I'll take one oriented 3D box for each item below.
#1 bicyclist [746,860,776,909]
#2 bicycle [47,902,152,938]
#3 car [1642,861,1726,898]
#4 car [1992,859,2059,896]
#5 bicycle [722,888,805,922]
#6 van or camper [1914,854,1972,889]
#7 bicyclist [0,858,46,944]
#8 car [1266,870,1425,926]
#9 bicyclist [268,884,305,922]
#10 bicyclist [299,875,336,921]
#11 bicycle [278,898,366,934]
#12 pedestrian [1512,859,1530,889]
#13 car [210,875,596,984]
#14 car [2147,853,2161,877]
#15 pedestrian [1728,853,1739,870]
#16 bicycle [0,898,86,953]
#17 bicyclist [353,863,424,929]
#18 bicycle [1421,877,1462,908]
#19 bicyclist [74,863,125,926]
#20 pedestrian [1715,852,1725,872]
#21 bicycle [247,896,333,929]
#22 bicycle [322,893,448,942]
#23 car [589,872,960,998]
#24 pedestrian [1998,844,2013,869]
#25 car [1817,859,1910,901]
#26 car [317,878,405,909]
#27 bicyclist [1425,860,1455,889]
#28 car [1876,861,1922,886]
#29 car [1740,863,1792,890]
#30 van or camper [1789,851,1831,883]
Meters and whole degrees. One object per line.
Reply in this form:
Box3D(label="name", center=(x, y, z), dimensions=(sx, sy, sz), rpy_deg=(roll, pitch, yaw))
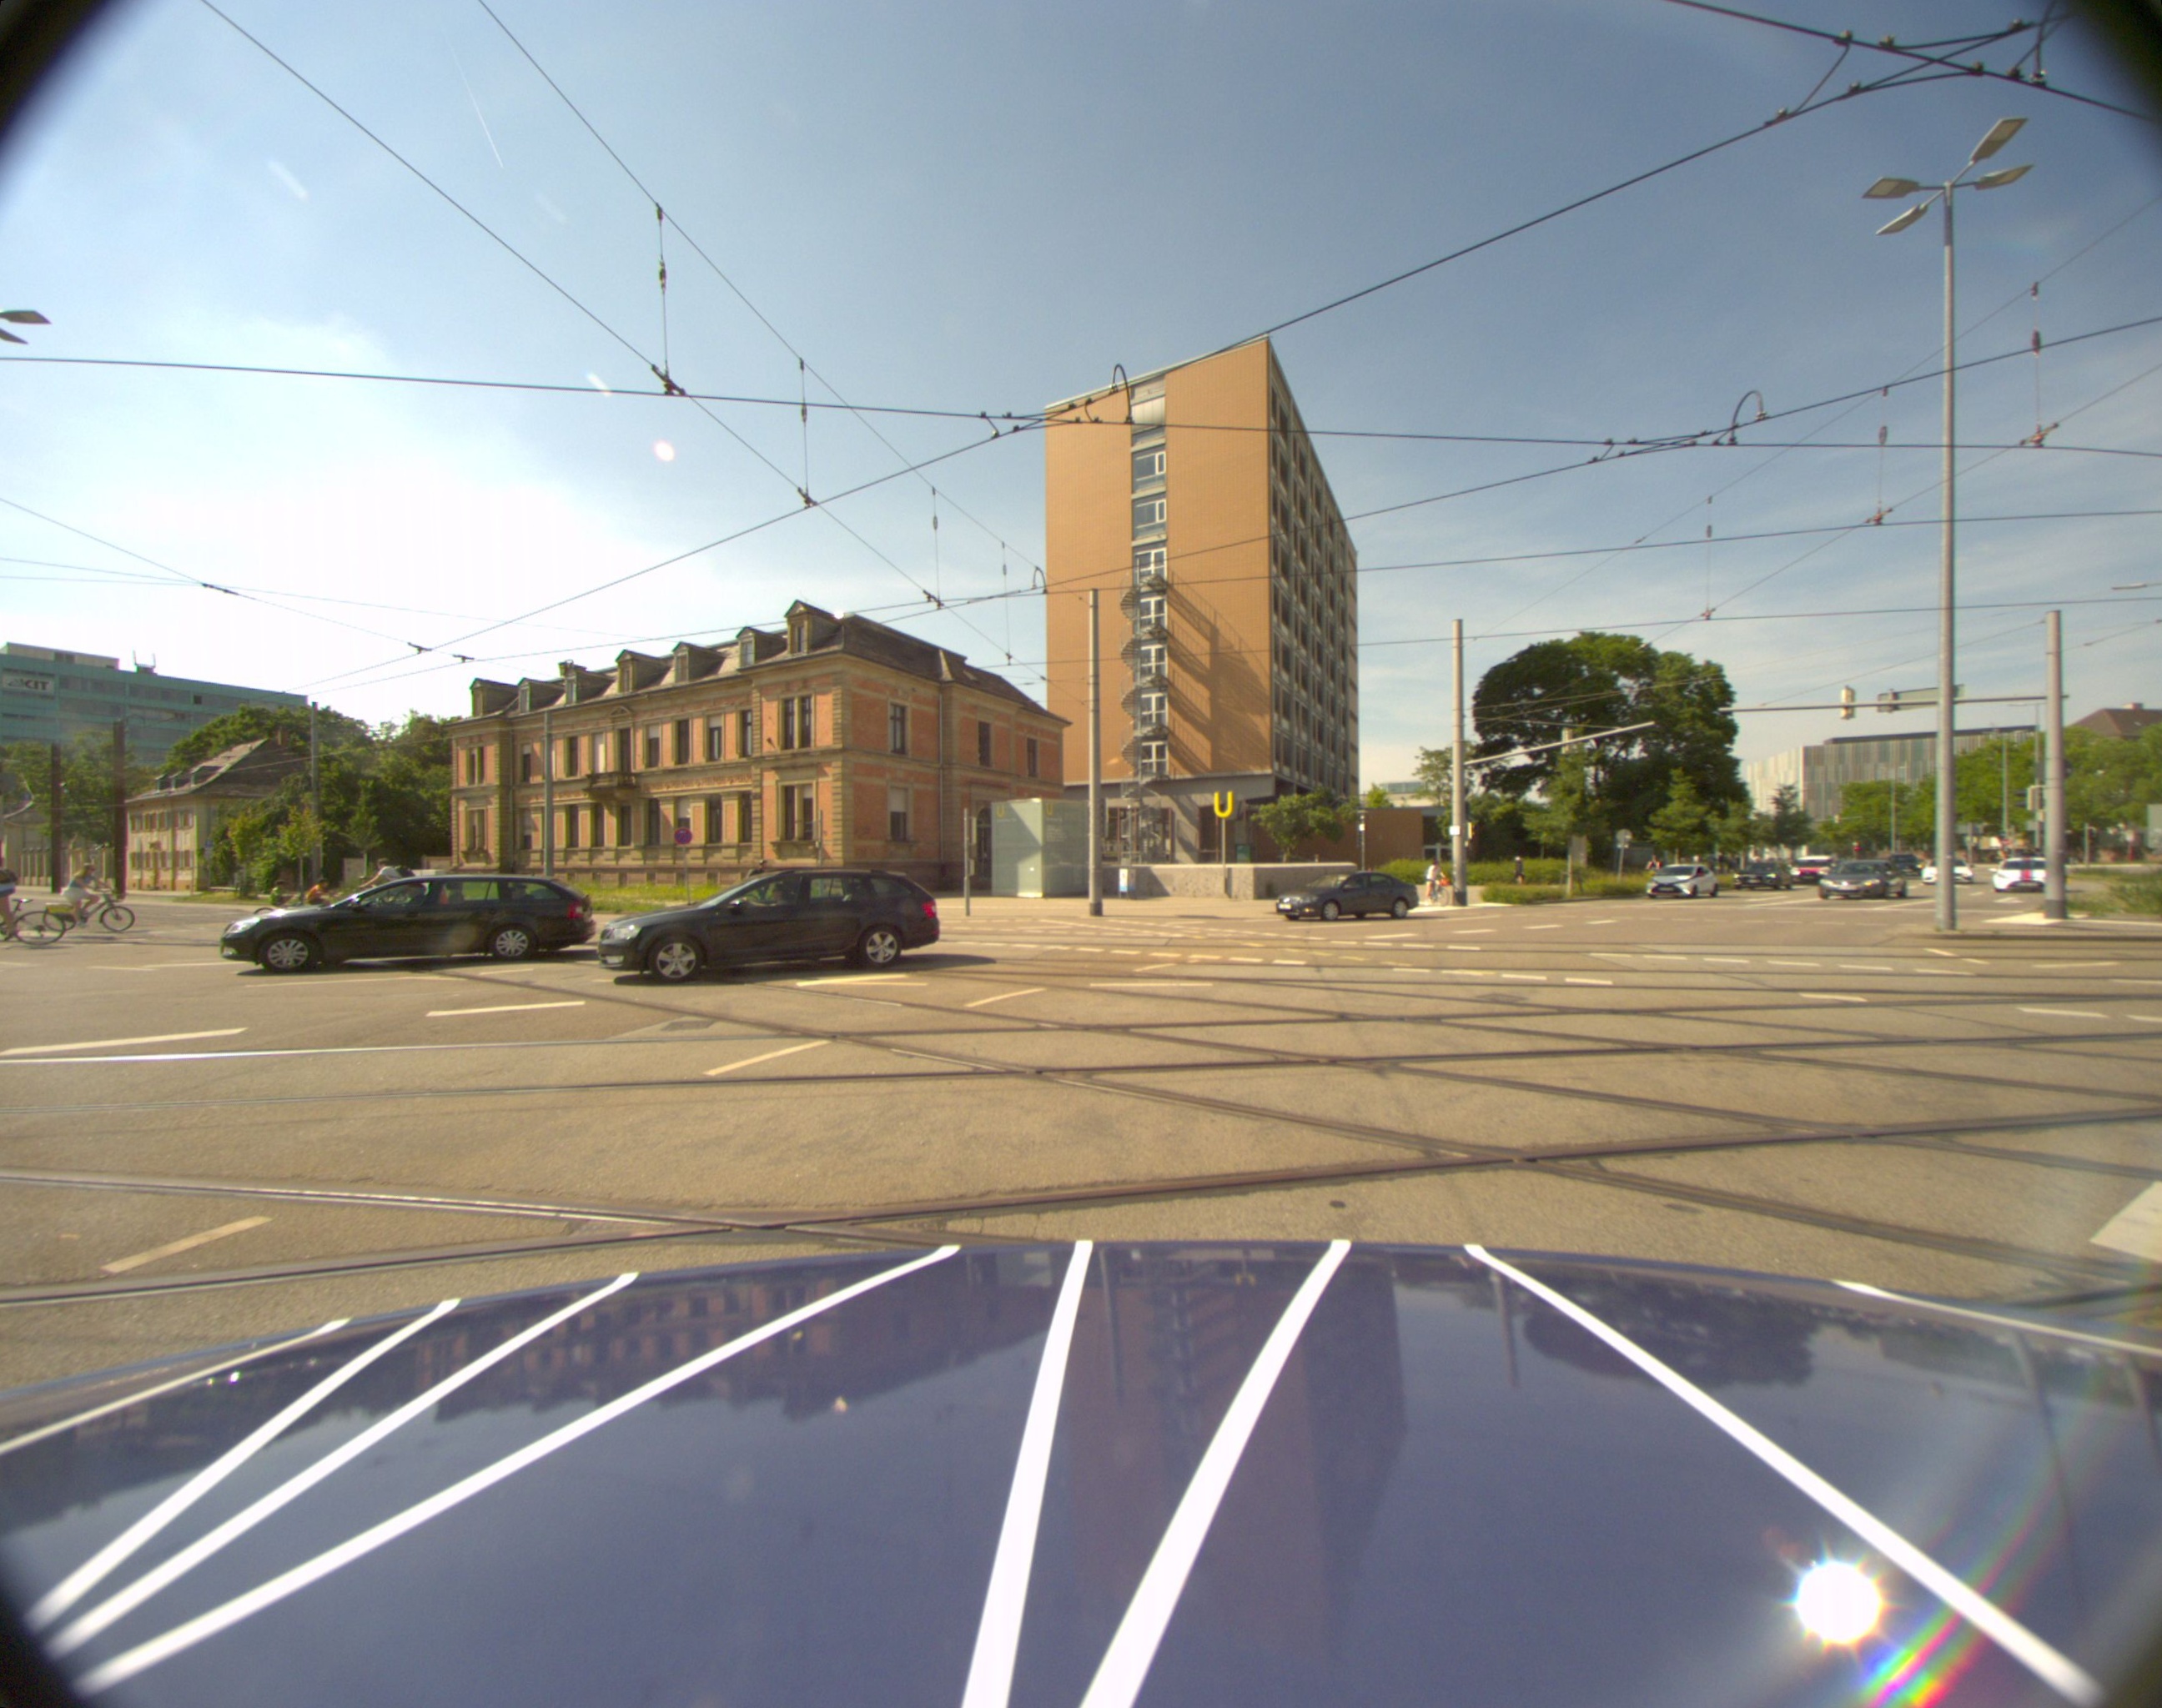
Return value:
Box3D(label="bicyclist", center=(-10.728, 1.019, 25.474), dimensions=(0.783, 1.614, 0.668), rpy_deg=(-1, -2, -9))
Box3D(label="bicycle", center=(-25.500, 1.695, 19.771), dimensions=(1.589, 0.860, 0.501), rpy_deg=(0, -2, -27))
Box3D(label="car", center=(26.069, 1.086, 32.812), dimensions=(3.766, 1.465, 1.679), rpy_deg=(-1, -2, -33))
Box3D(label="car", center=(39.278, 0.953, 31.581), dimensions=(3.870, 1.406, 1.651), rpy_deg=(-1, 0, -37))
Box3D(label="bicycle", center=(-10.618, 1.694, 25.467), dimensions=(2.463, 1.062, 0.668), rpy_deg=(-1, -2, -9))
Box3D(label="van or camper", center=(49.218, 0.965, 43.481), dimensions=(4.933, 1.876, 1.915), rpy_deg=(0, -1, -45))
Box3D(label="bicyclist", center=(-21.425, 0.926, 15.005), dimensions=(0.876, 1.660, 0.715), rpy_deg=(-1, 2, -24))
Box3D(label="car", center=(7.948, 1.264, 22.789), dimensions=(4.534, 1.426, 1.633), rpy_deg=(-1, -1, -23))
Box3D(label="bicyclist", center=(-22.228, 1.362, 21.271), dimensions=(0.606, 1.023, 0.501), rpy_deg=(0, -2, -34))
Box3D(label="bicyclist", center=(-20.195, 1.158, 20.097), dimensions=(0.605, 1.189, 0.519), rpy_deg=(0, 0, -35))
Box3D(label="bicycle", center=(-20.182, 1.629, 20.241), dimensions=(1.578, 0.880, 0.519), rpy_deg=(1, -1, -35))
Box3D(label="pedestrian", center=(24.875, 1.148, 42.970), dimensions=(0.733, 1.654, 0.591), rpy_deg=(-1, 2, -32))
Box3D(label="car", center=(-10.485, 1.086, 12.283), dimensions=(4.405, 1.421, 1.701), rpy_deg=(0, 0, -31))
Box3D(label="car", center=(60.460, 0.562, 41.757), dimensions=(4.008, 1.279, 1.595), rpy_deg=(-1, -2, -43))
Box3D(label="pedestrian", center=(55.762, 0.657, 64.955), dimensions=(0.642, 1.438, 0.570), rpy_deg=(1, 2, 37))
Box3D(label="bicycle", center=(-21.439, 1.427, 15.026), dimensions=(2.023, 1.009, 0.715), rpy_deg=(-1, 2, -24))
Box3D(label="bicyclist", center=(-16.057, 0.964, 17.642), dimensions=(0.950, 1.478, 0.716), rpy_deg=(-2, -1, -6))
Box3D(label="bicycle", center=(13.704, 1.447, 28.933), dimensions=(0.716, 1.009, 1.918), rpy_deg=(0, 2, 2))
Box3D(label="bicyclist", center=(-25.541, 1.056, 19.787), dimensions=(0.650, 1.611, 0.501), rpy_deg=(0, -2, -27))
Box3D(label="pedestrian", center=(55.054, 0.689, 65.456), dimensions=(0.642, 1.754, 0.476), rpy_deg=(1, 2, 37))
Box3D(label="bicycle", center=(-22.145, 1.623, 21.310), dimensions=(1.590, 0.860, 0.501), rpy_deg=(0, -2, -34))
Box3D(label="bicycle", center=(-16.101, 1.446, 17.625), dimensions=(2.022, 1.009, 0.715), rpy_deg=(-2, -2, -19))
Box3D(label="car", center=(-4.335, 1.026, 11.156), dimensions=(4.787, 1.427, 1.632), rpy_deg=(0, 0, -32))
Box3D(label="pedestrian", center=(63.554, 0.174, 52.224), dimensions=(0.753, 1.664, 0.540), rpy_deg=(0, 0, -32))
Box3D(label="car", center=(29.924, 0.980, 29.024), dimensions=(4.127, 1.415, 1.648), rpy_deg=(-1, -2, -33))
Box3D(label="car", center=(-32.195, 1.730, 33.990), dimensions=(3.444, 1.305, 1.675), rpy_deg=(-1, 0, 25))
Box3D(label="bicyclist", center=(13.699, 0.775, 28.975), dimensions=(0.716, 1.023, 0.916), rpy_deg=(0, 2, 2))
Box3D(label="car", center=(63.093, 1.473, 58.664), dimensions=(1.959, 1.783, 4.009), rpy_deg=(-1, 0, 40))
Box3D(label="car", center=(36.543, 1.156, 40.522), dimensions=(3.588, 1.287, 1.406), rpy_deg=(0, 2, -38))
Box3D(label="van or camper", center=(46.266, 0.799, 48.277), dimensions=(1.726, 1.876, 4.933), rpy_deg=(-4, -2, 42))
